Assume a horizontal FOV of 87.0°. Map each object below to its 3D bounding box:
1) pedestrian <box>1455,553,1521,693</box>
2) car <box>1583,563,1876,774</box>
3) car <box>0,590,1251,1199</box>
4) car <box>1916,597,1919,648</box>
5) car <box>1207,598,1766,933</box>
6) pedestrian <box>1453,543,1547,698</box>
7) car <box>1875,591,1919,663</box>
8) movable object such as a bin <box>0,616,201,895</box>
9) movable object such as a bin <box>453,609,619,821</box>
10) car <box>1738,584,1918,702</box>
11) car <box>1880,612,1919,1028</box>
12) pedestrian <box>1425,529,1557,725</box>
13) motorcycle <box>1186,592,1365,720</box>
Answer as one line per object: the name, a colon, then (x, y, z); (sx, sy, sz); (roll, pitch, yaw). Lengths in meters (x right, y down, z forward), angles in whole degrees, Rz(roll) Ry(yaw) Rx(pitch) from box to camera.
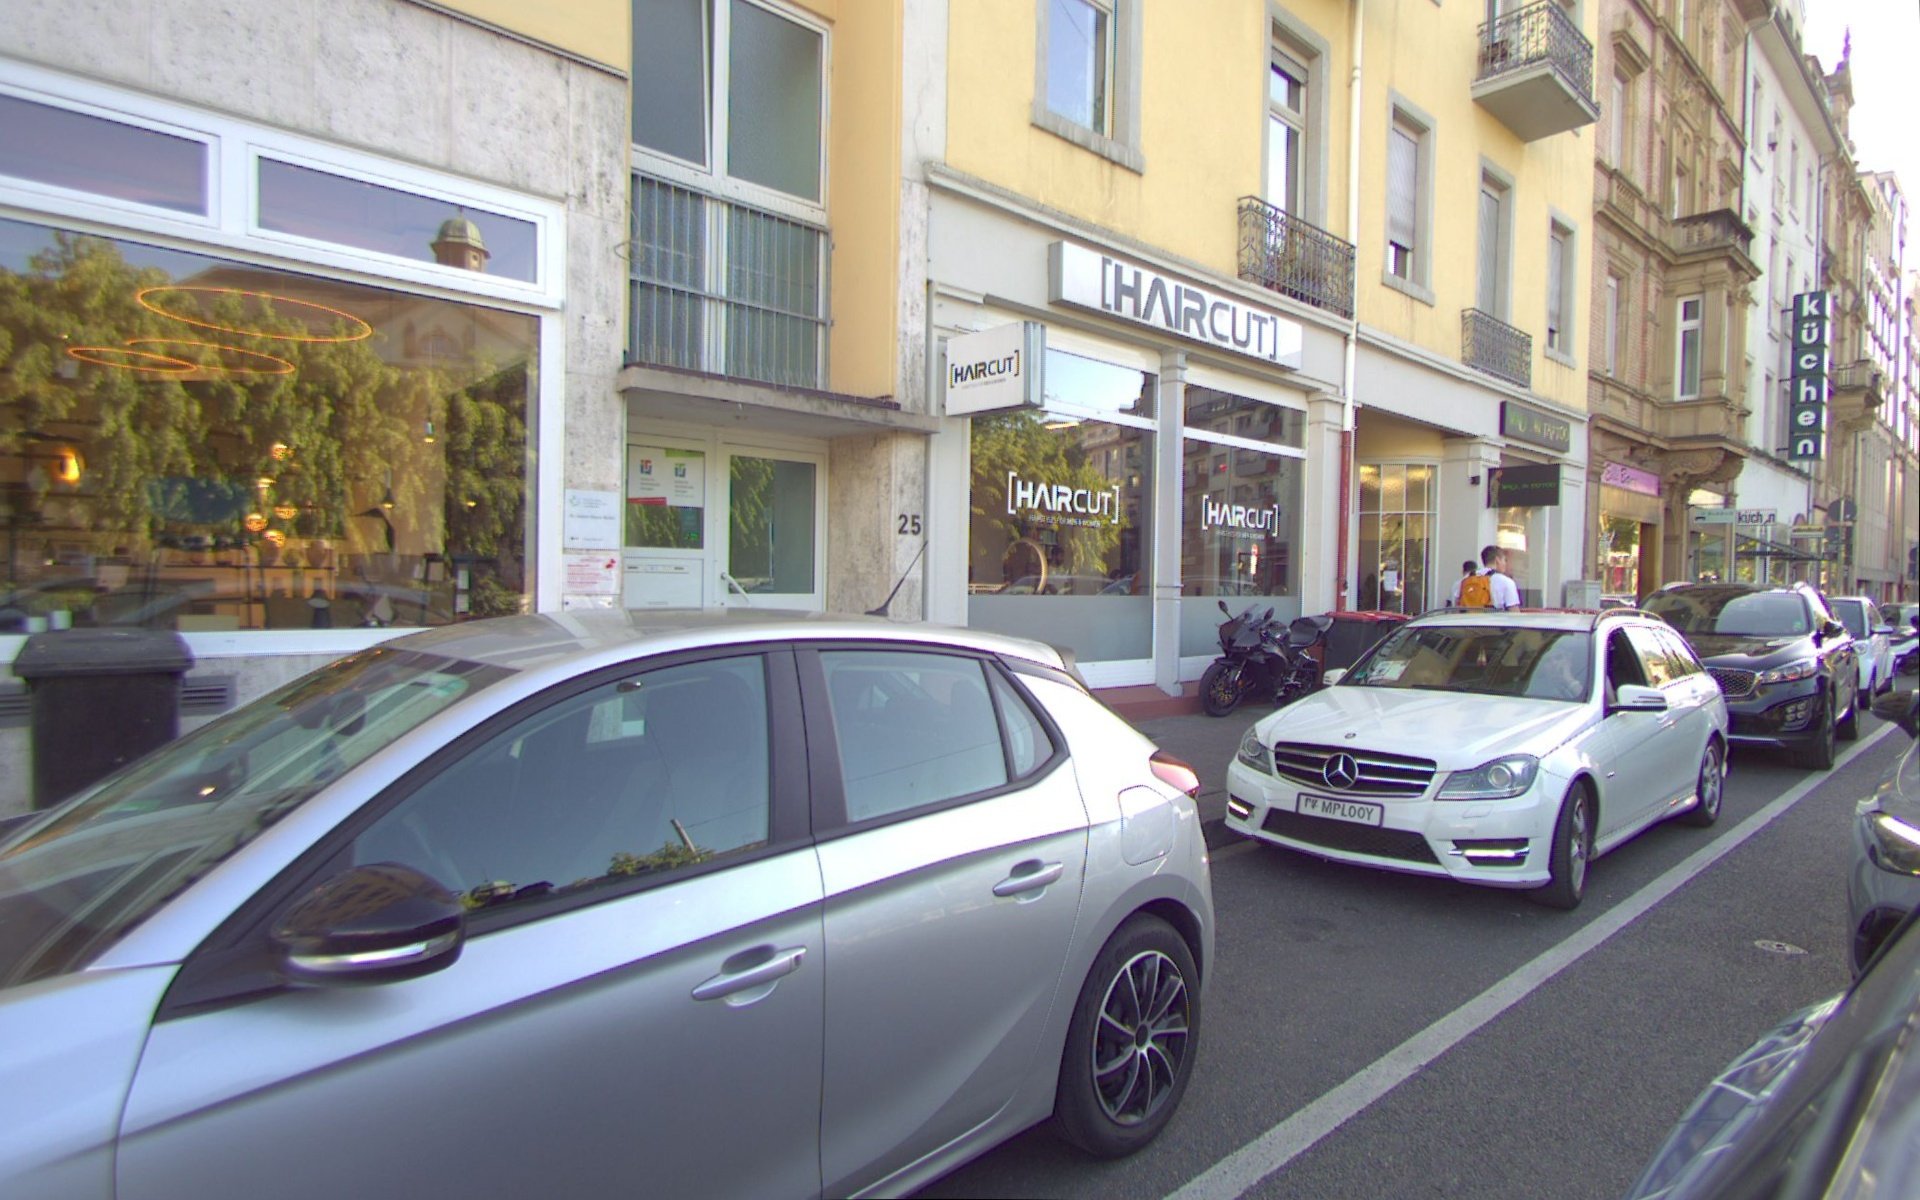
pedestrian: (7.242, 0.298, 13.875); (0.627, 1.859, 0.760); (0, 0, 41)
car: (8.011, 0.528, 10.367); (4.338, 1.711, 1.802); (-1, 0, -45)
car: (-1.004, 0.713, 2.308); (3.625, 1.455, 1.585); (-1, 0, -43)
car: (26.612, 0.571, 26.928); (3.306, 1.334, 1.459); (-1, 0, -42)
car: (3.535, 0.706, 6.388); (4.301, 1.389, 1.671); (-1, 0, -41)
pedestrian: (6.847, 0.252, 12.871); (0.961, 1.900, 0.532); (0, 0, 18)
car: (21.900, 0.563, 22.809); (3.736, 1.509, 1.691); (-1, 0, -45)
movable object such as a bin: (-3.672, 0.597, 4.324); (0.639, 1.036, 0.737); (0, 0, -41)
movable object such as a bin: (-2.325, 0.579, 5.538); (0.639, 1.036, 0.737); (0, 0, -41)
car: (12.773, 0.544, 14.853); (2.945, 1.542, 1.582); (-1, 0, -41)
car: (5.399, 0.748, 4.377); (4.397, 1.385, 1.767); (-1, 1, -43)
pedestrian: (5.314, 0.233, 10.136); (0.964, 1.845, 0.811); (0, 2, -37)
motorcycle: (3.303, 0.521, 10.505); (2.073, 1.144, 0.735); (-1, 5, -41)
